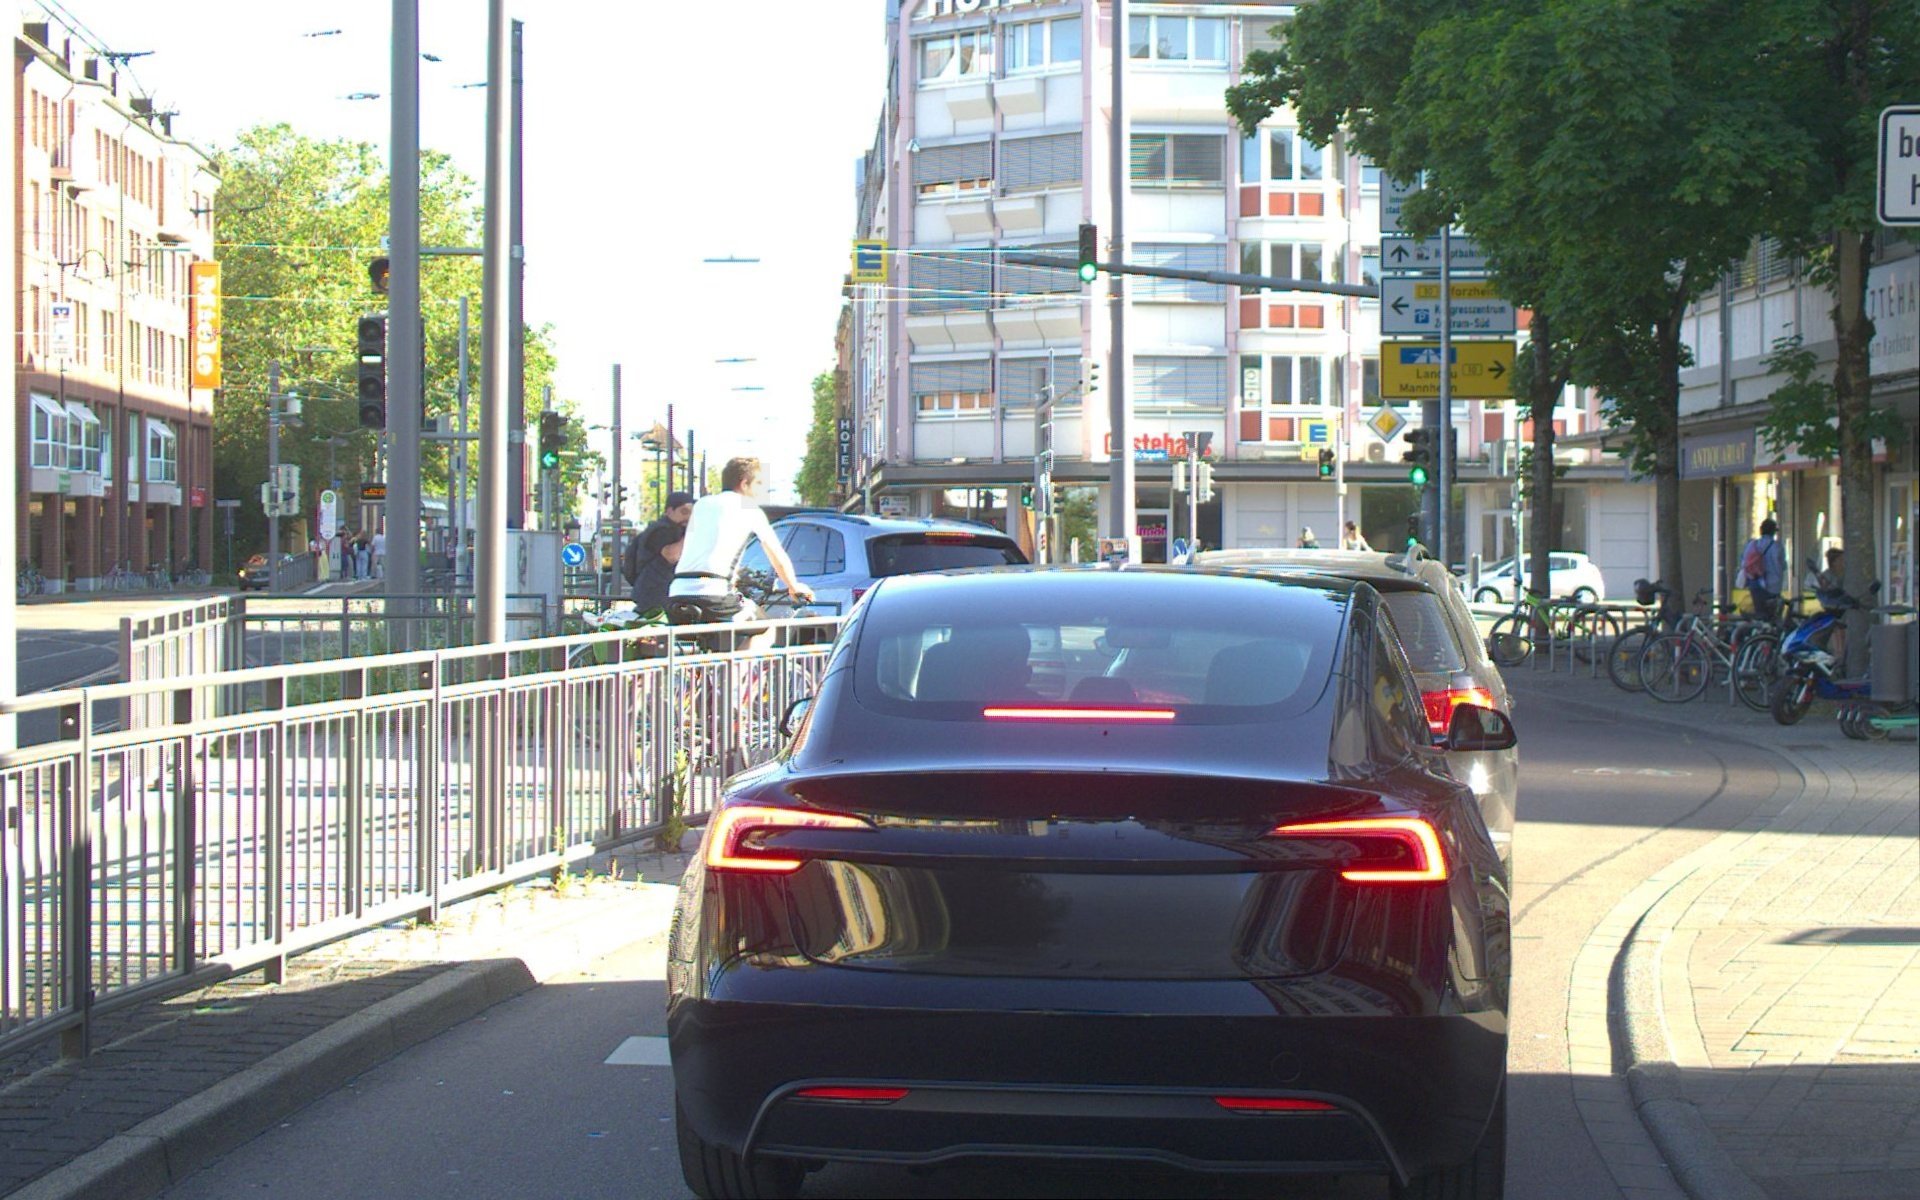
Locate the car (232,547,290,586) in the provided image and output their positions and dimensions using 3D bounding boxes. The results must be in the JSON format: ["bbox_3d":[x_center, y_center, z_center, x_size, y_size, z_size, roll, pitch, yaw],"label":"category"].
[{"bbox_3d":[-26.812,-1.289,131.990,1.817,1.449,3.978,-1,1,-7],"label":"car"}]

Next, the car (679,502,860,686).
[{"bbox_3d":[-1.775,-0.071,32.336,1.572,1.612,3.784,1,1,-3],"label":"car"}]

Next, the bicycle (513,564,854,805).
[{"bbox_3d":[-1.437,0.424,18.127,1.821,1.207,0.582,0,1,-44],"label":"bicycle"}]

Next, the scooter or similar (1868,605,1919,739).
[{"bbox_3d":[7.609,0.563,26.897,0.964,1.039,0.160,0,1,3],"label":"scooter or similar"}]

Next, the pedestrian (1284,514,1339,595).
[{"bbox_3d":[7.022,-0.909,68.684,0.779,1.571,0.868,1,2,-15],"label":"pedestrian"}]

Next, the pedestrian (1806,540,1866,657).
[{"bbox_3d":[10.711,-0.019,42.070,0.645,1.417,0.621,1,0,10],"label":"pedestrian"}]

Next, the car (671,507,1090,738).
[{"bbox_3d":[-0.674,0.140,26.208,1.839,1.629,3.486,1,1,-27],"label":"car"}]

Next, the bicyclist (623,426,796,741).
[{"bbox_3d":[-1.327,-0.089,18.218,0.681,1.625,0.578,0,1,-44],"label":"bicyclist"}]

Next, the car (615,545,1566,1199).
[{"bbox_3d":[0.383,0.622,8.501,1.791,1.446,3.939,1,2,4],"label":"car"}]

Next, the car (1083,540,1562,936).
[{"bbox_3d":[1.521,0.476,15.152,1.765,1.439,4.528,1,1,4],"label":"car"}]

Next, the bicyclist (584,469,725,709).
[{"bbox_3d":[-1.976,-0.074,22.225,0.681,1.518,0.635,1,0,-31],"label":"bicyclist"}]

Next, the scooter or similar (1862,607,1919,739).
[{"bbox_3d":[7.614,0.573,27.095,0.956,1.035,0.160,0,1,3],"label":"scooter or similar"}]

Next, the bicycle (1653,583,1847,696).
[{"bbox_3d":[7.649,0.379,33.329,1.767,1.053,0.458,1,0,5],"label":"bicycle"}]

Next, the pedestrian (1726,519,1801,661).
[{"bbox_3d":[9.876,-0.121,42.276,0.843,1.715,0.879,1,0,11],"label":"pedestrian"}]

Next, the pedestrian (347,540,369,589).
[{"bbox_3d":[-19.126,-1.134,109.177,0.583,1.525,0.638,1,0,-18],"label":"pedestrian"}]

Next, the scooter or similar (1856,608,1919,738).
[{"bbox_3d":[7.620,0.581,27.296,0.964,1.023,0.160,0,1,3],"label":"scooter or similar"}]

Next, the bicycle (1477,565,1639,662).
[{"bbox_3d":[7.370,0.165,42.428,1.890,1.152,0.480,-1,0,0],"label":"bicycle"}]

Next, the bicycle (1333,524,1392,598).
[{"bbox_3d":[8.039,-0.785,68.704,0.582,1.458,1.686,0,1,-16],"label":"bicycle"}]

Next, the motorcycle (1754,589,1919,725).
[{"bbox_3d":[7.719,0.482,29.247,1.787,1.126,0.504,1,0,-3],"label":"motorcycle"}]

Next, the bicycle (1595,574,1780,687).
[{"bbox_3d":[7.478,0.313,35.365,1.809,1.147,0.435,0,0,-4],"label":"bicycle"}]

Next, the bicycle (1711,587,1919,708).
[{"bbox_3d":[7.790,0.427,31.263,1.849,1.052,0.399,-1,1,-11],"label":"bicycle"}]

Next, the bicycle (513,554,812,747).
[{"bbox_3d":[-1.919,0.317,22.262,1.820,1.207,0.642,0,1,-31],"label":"bicycle"}]

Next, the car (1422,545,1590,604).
[{"bbox_3d":[13.715,-0.636,86.473,3.840,1.427,1.804,0,-1,-5],"label":"car"}]
